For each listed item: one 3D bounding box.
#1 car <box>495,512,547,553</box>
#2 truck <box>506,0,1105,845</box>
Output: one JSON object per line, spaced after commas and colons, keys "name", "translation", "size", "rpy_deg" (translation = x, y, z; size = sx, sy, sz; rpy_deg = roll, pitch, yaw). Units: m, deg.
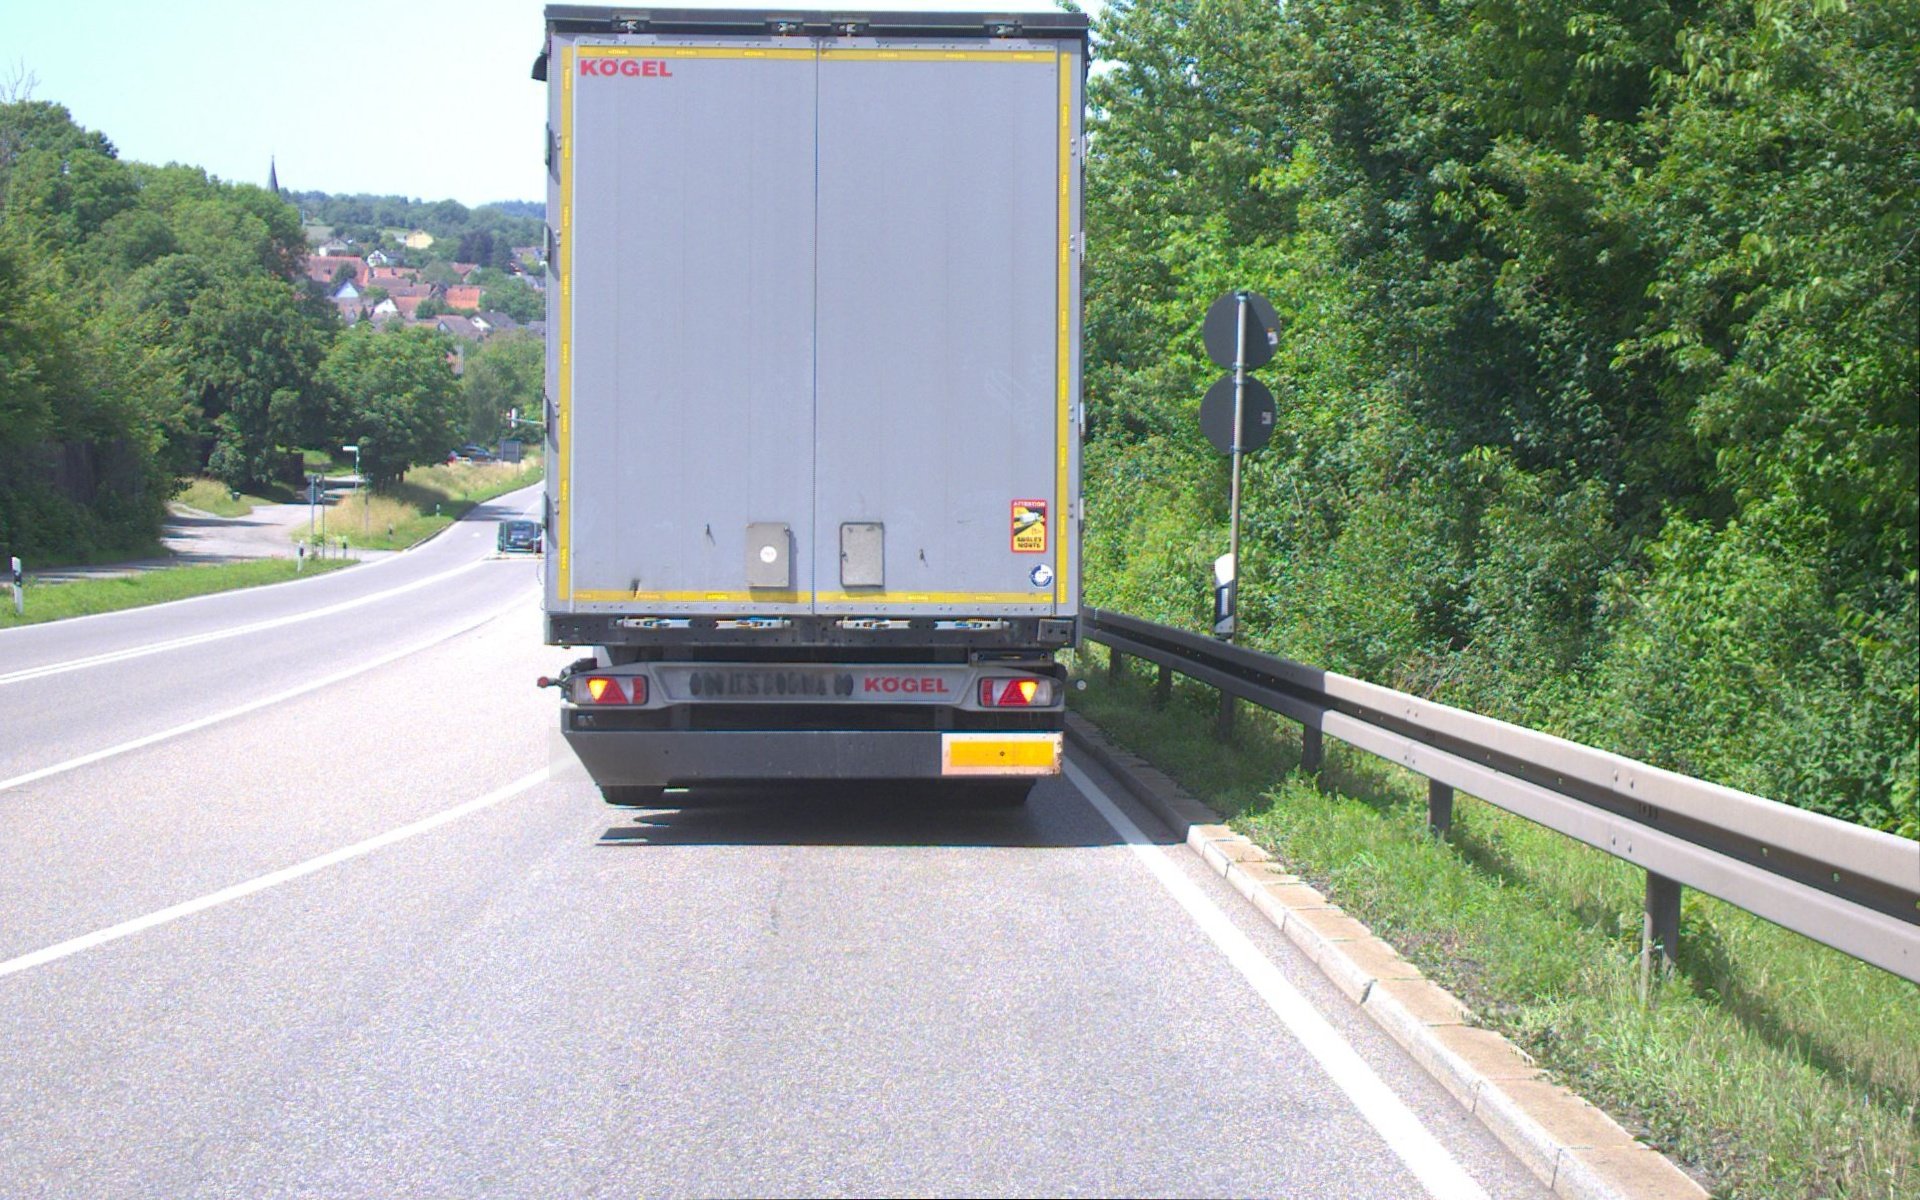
{"name": "car", "translation": [-20.095, -3.074, 157.146], "size": [1.805, 1.788, 3.843], "rpy_deg": [0, 1, -16]}
{"name": "truck", "translation": [-0.787, -1.012, 21.916], "size": [2.757, 4.016, 11.925], "rpy_deg": [0, 1, -1]}
